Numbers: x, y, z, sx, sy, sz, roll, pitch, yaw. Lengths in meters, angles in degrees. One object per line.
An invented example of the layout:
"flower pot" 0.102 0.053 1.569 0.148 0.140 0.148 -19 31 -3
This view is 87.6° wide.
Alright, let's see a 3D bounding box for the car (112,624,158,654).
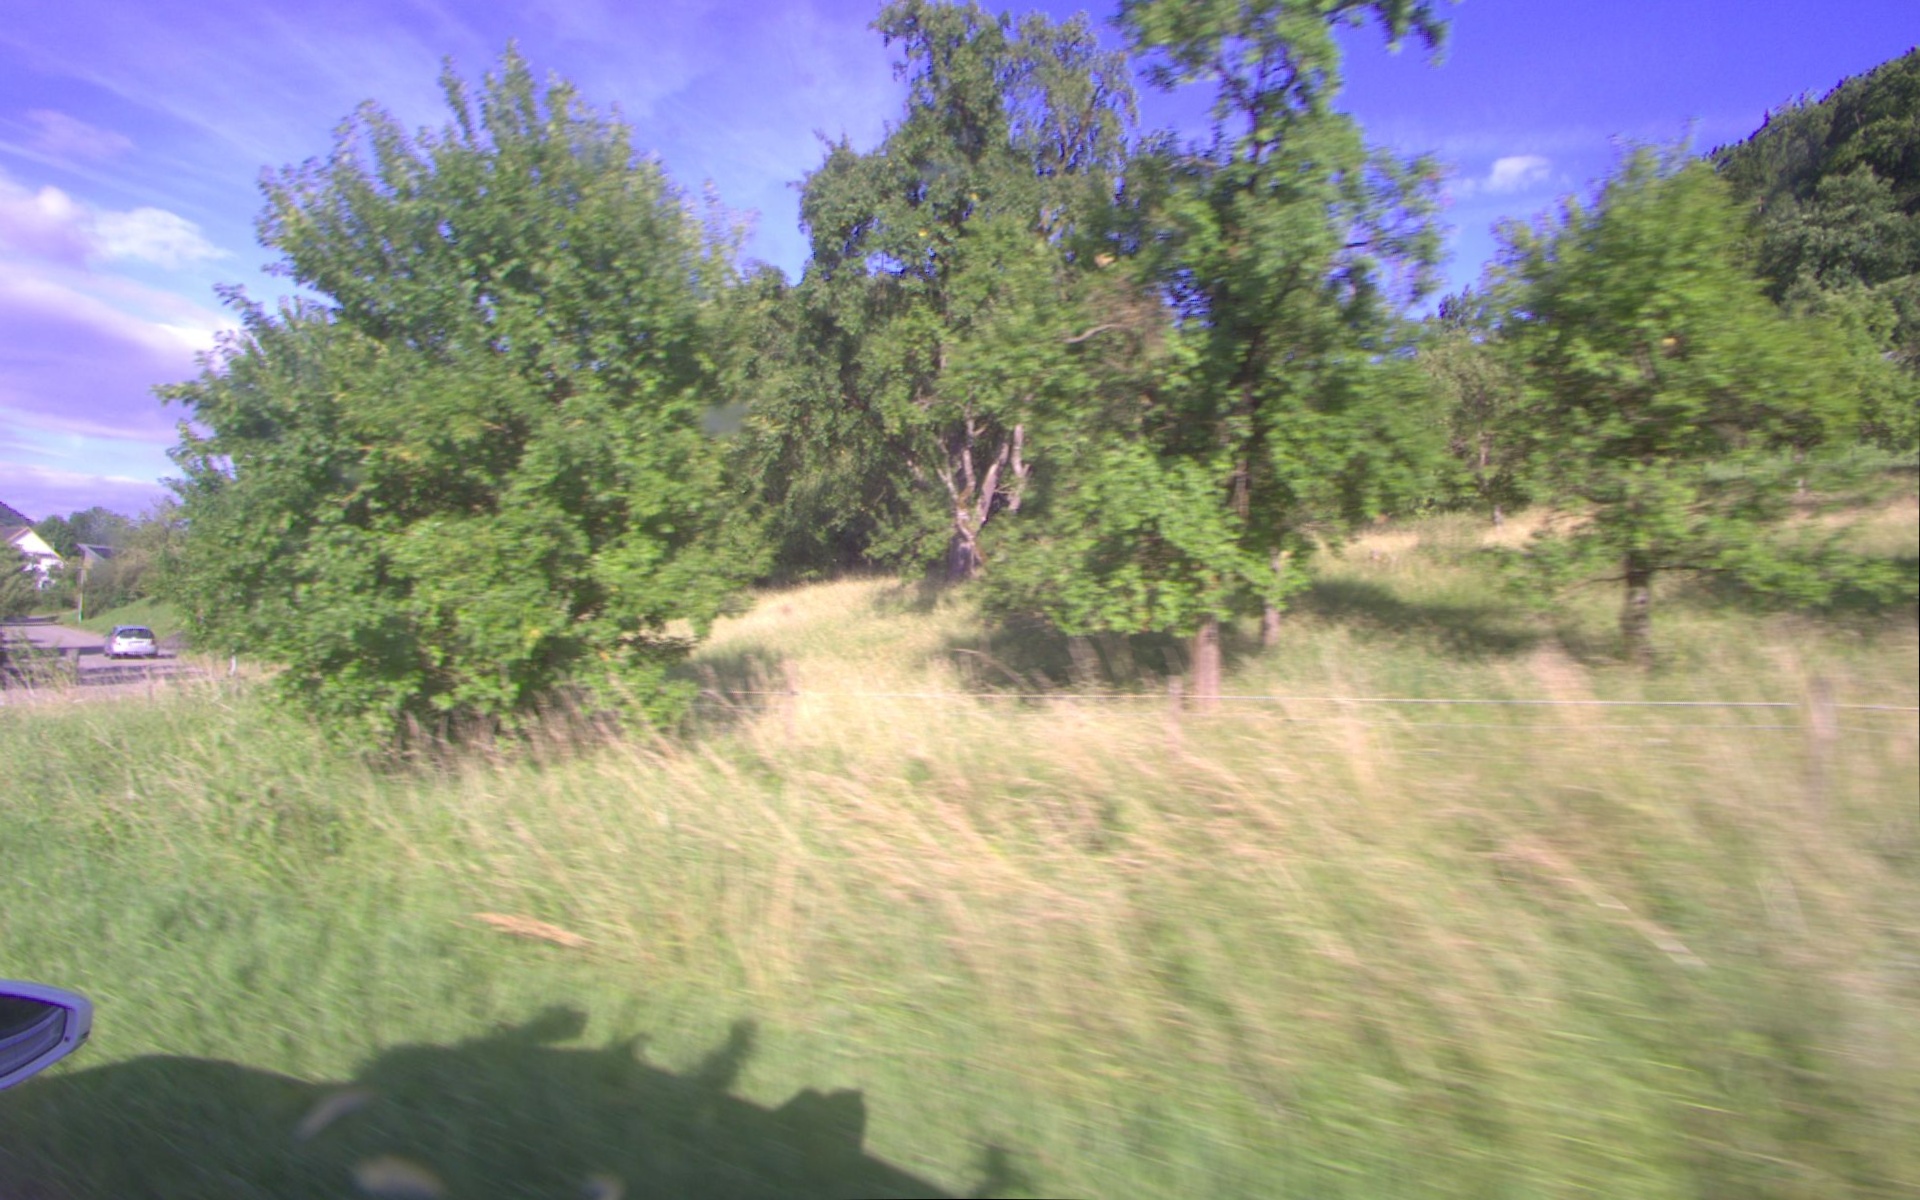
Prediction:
"car" -40.402 1.920 49.010 1.611 1.407 3.965 1 -2 -41
